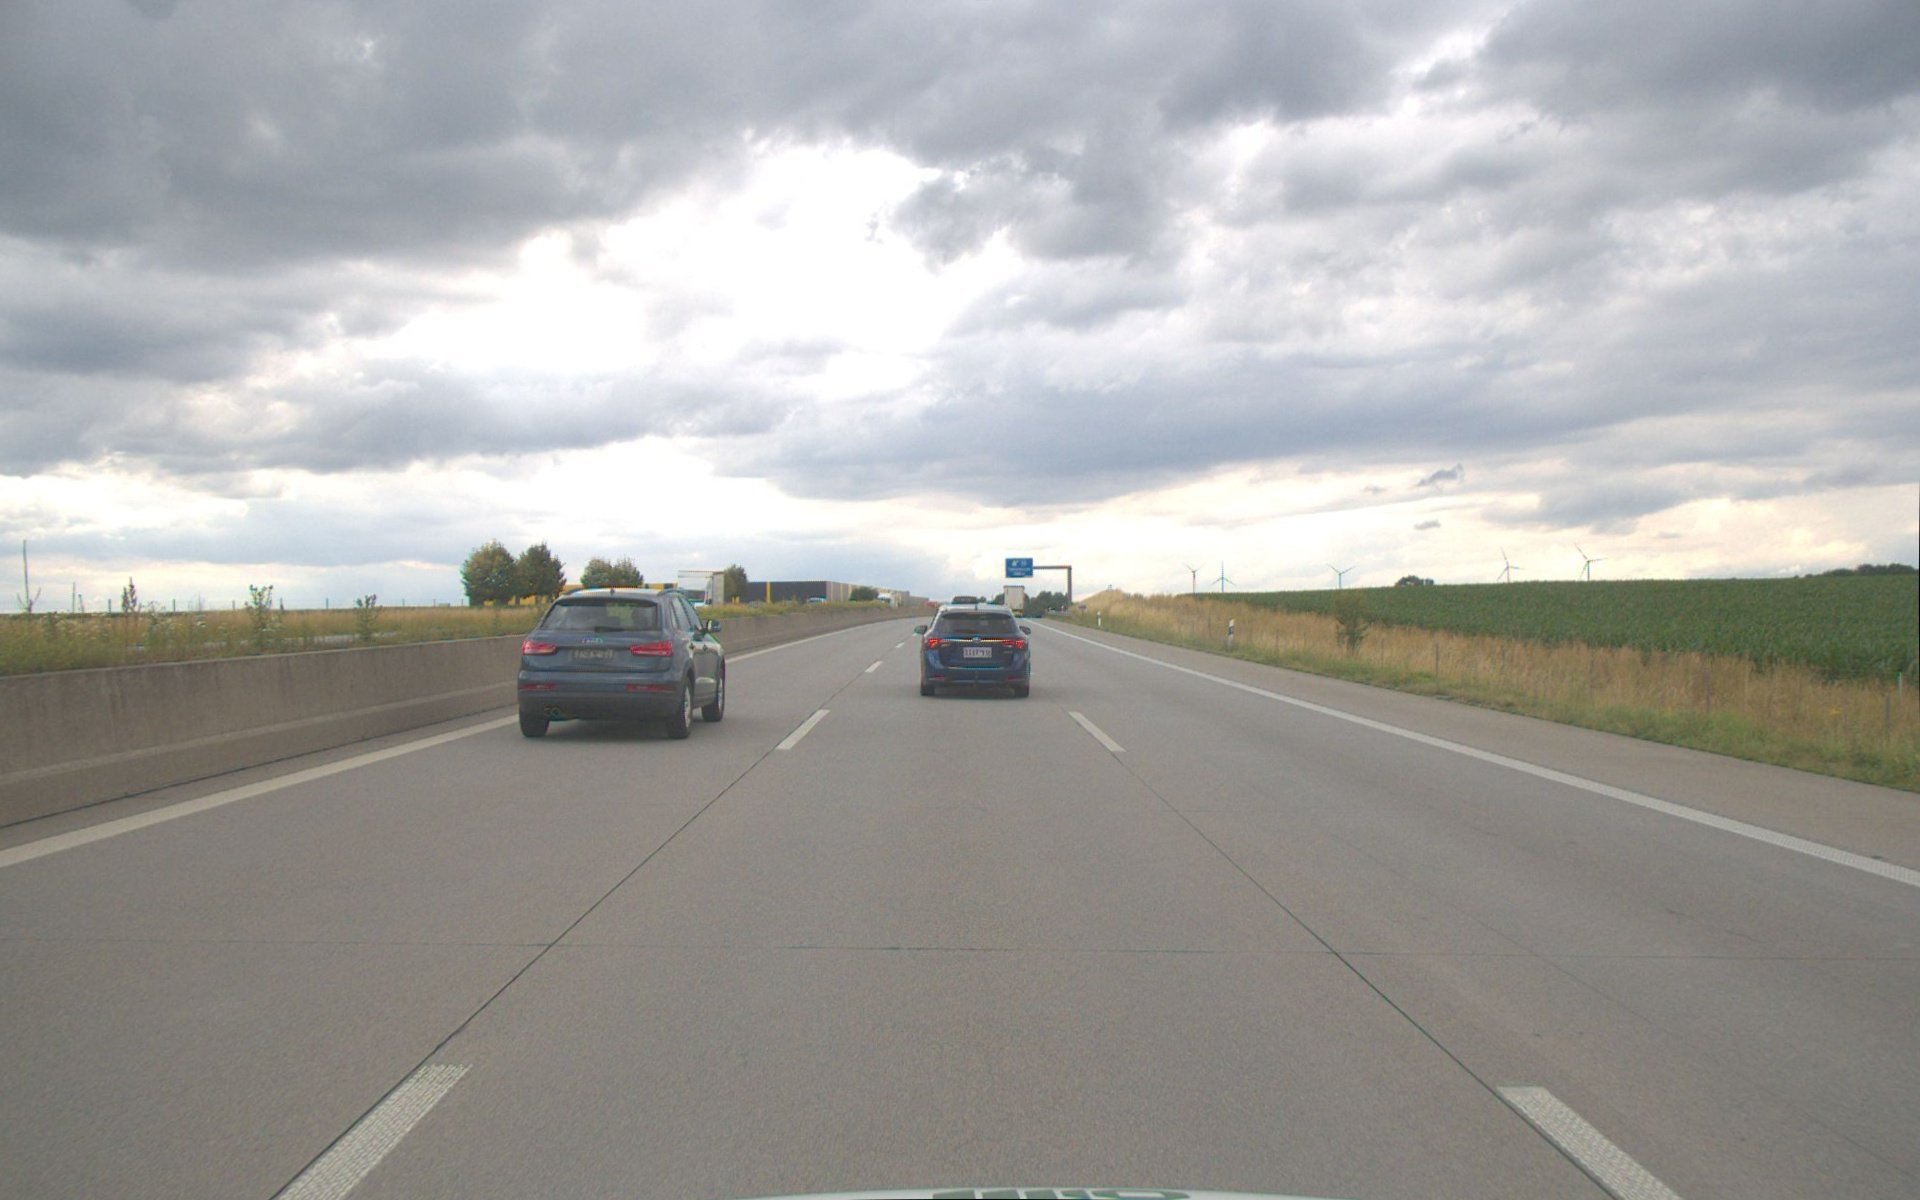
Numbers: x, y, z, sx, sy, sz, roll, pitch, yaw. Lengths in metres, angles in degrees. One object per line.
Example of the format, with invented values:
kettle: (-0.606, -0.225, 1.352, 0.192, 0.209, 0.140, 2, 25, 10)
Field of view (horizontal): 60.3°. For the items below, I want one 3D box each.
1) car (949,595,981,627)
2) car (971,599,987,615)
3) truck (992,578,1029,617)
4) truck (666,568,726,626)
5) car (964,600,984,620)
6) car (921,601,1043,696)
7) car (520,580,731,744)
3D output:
car: (0.290, 0.720, 109.346, 1.953, 2.049, 3.998, 1, -1, -2)
car: (2.566, 0.993, 223.980, 1.954, 2.049, 3.997, 1, -1, -3)
truck: (6.567, -0.237, 218.710, 3.871, 4.839, 12.068, 1, -1, -3)
truck: (-16.010, -0.144, 100.689, 2.309, 3.386, 7.297, 1, -1, 1)
car: (1.491, 1.047, 175.969, 1.953, 2.049, 3.999, 2, 0, -2)
car: (0.292, 0.755, 27.271, 1.739, 1.438, 3.997, 0, 0, -3)
car: (-3.702, 0.620, 19.165, 1.757, 1.624, 5.152, 1, 0, -5)
